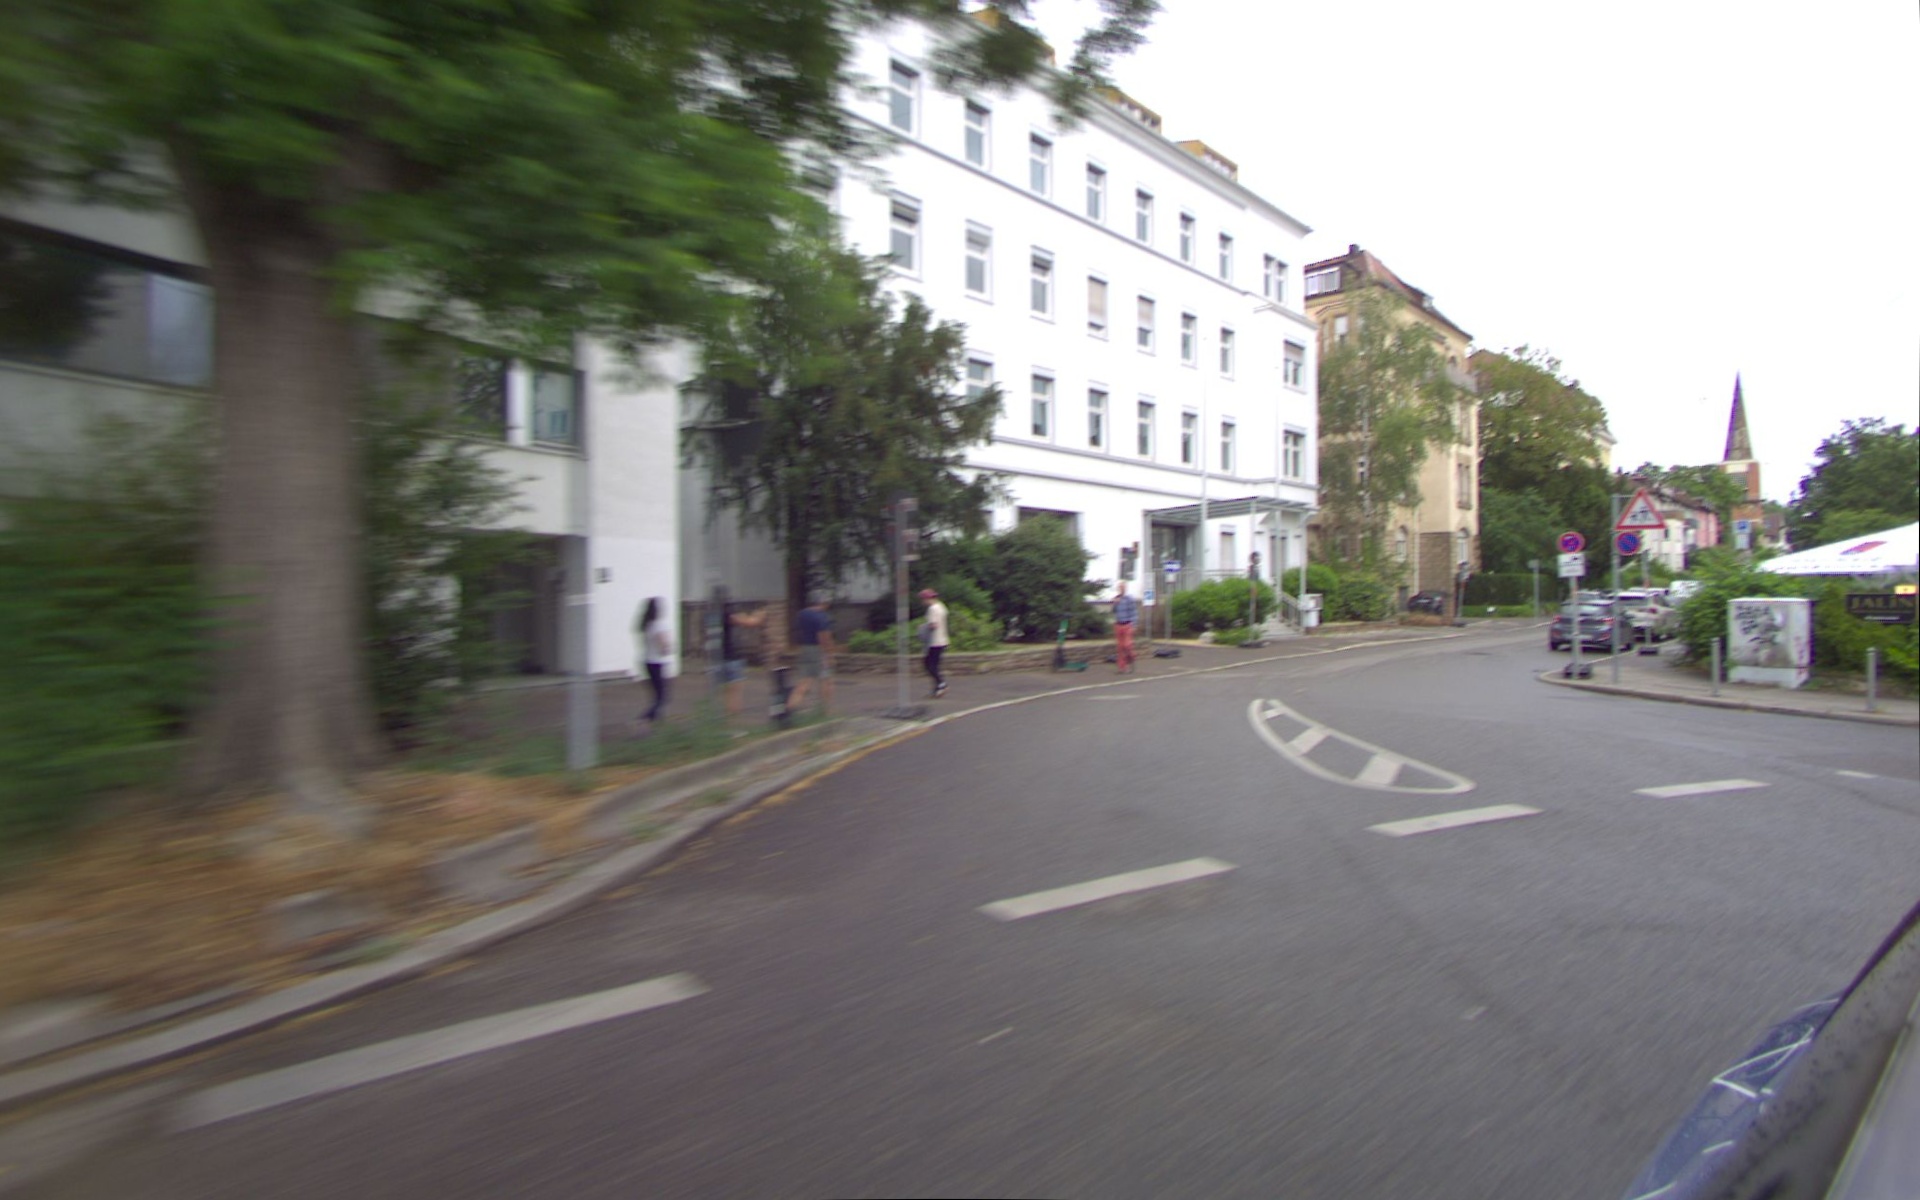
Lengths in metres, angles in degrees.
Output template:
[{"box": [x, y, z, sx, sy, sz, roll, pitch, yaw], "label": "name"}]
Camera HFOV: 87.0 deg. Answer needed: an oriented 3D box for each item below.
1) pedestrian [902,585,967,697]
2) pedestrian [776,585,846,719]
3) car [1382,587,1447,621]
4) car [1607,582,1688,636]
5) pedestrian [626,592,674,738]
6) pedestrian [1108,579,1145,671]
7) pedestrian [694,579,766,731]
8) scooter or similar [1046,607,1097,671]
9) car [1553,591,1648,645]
[{"box": [-0.406, 0.643, 16.129, 0.740, 1.722, 0.665, 1, -2, 33], "label": "pedestrian"}, {"box": [-1.896, 0.656, 12.873, 0.543, 1.651, 0.593, 0, -4, 38], "label": "pedestrian"}, {"box": [21.449, 0.213, 47.724, 3.573, 1.359, 1.596, 5, -4, -44], "label": "car"}, {"box": [23.354, 0.307, 34.333, 1.688, 1.711, 3.744, 2, 0, 43], "label": "car"}, {"box": [-3.374, 0.689, 11.009, 0.377, 1.525, 0.540, 2, 0, -26], "label": "pedestrian"}, {"box": [3.635, 0.526, 22.058, 0.538, 1.947, 0.909, 1, 1, 25], "label": "pedestrian"}, {"box": [-2.486, 0.593, 10.944, 0.534, 1.586, 0.602, 4, -3, -28], "label": "pedestrian"}, {"box": [2.402, 0.824, 21.712, 1.083, 1.306, 0.463, -2, 1, -42], "label": "scooter or similar"}, {"box": [18.851, 0.522, 29.714, 1.688, 1.460, 3.744, 2, 0, 43], "label": "car"}]
